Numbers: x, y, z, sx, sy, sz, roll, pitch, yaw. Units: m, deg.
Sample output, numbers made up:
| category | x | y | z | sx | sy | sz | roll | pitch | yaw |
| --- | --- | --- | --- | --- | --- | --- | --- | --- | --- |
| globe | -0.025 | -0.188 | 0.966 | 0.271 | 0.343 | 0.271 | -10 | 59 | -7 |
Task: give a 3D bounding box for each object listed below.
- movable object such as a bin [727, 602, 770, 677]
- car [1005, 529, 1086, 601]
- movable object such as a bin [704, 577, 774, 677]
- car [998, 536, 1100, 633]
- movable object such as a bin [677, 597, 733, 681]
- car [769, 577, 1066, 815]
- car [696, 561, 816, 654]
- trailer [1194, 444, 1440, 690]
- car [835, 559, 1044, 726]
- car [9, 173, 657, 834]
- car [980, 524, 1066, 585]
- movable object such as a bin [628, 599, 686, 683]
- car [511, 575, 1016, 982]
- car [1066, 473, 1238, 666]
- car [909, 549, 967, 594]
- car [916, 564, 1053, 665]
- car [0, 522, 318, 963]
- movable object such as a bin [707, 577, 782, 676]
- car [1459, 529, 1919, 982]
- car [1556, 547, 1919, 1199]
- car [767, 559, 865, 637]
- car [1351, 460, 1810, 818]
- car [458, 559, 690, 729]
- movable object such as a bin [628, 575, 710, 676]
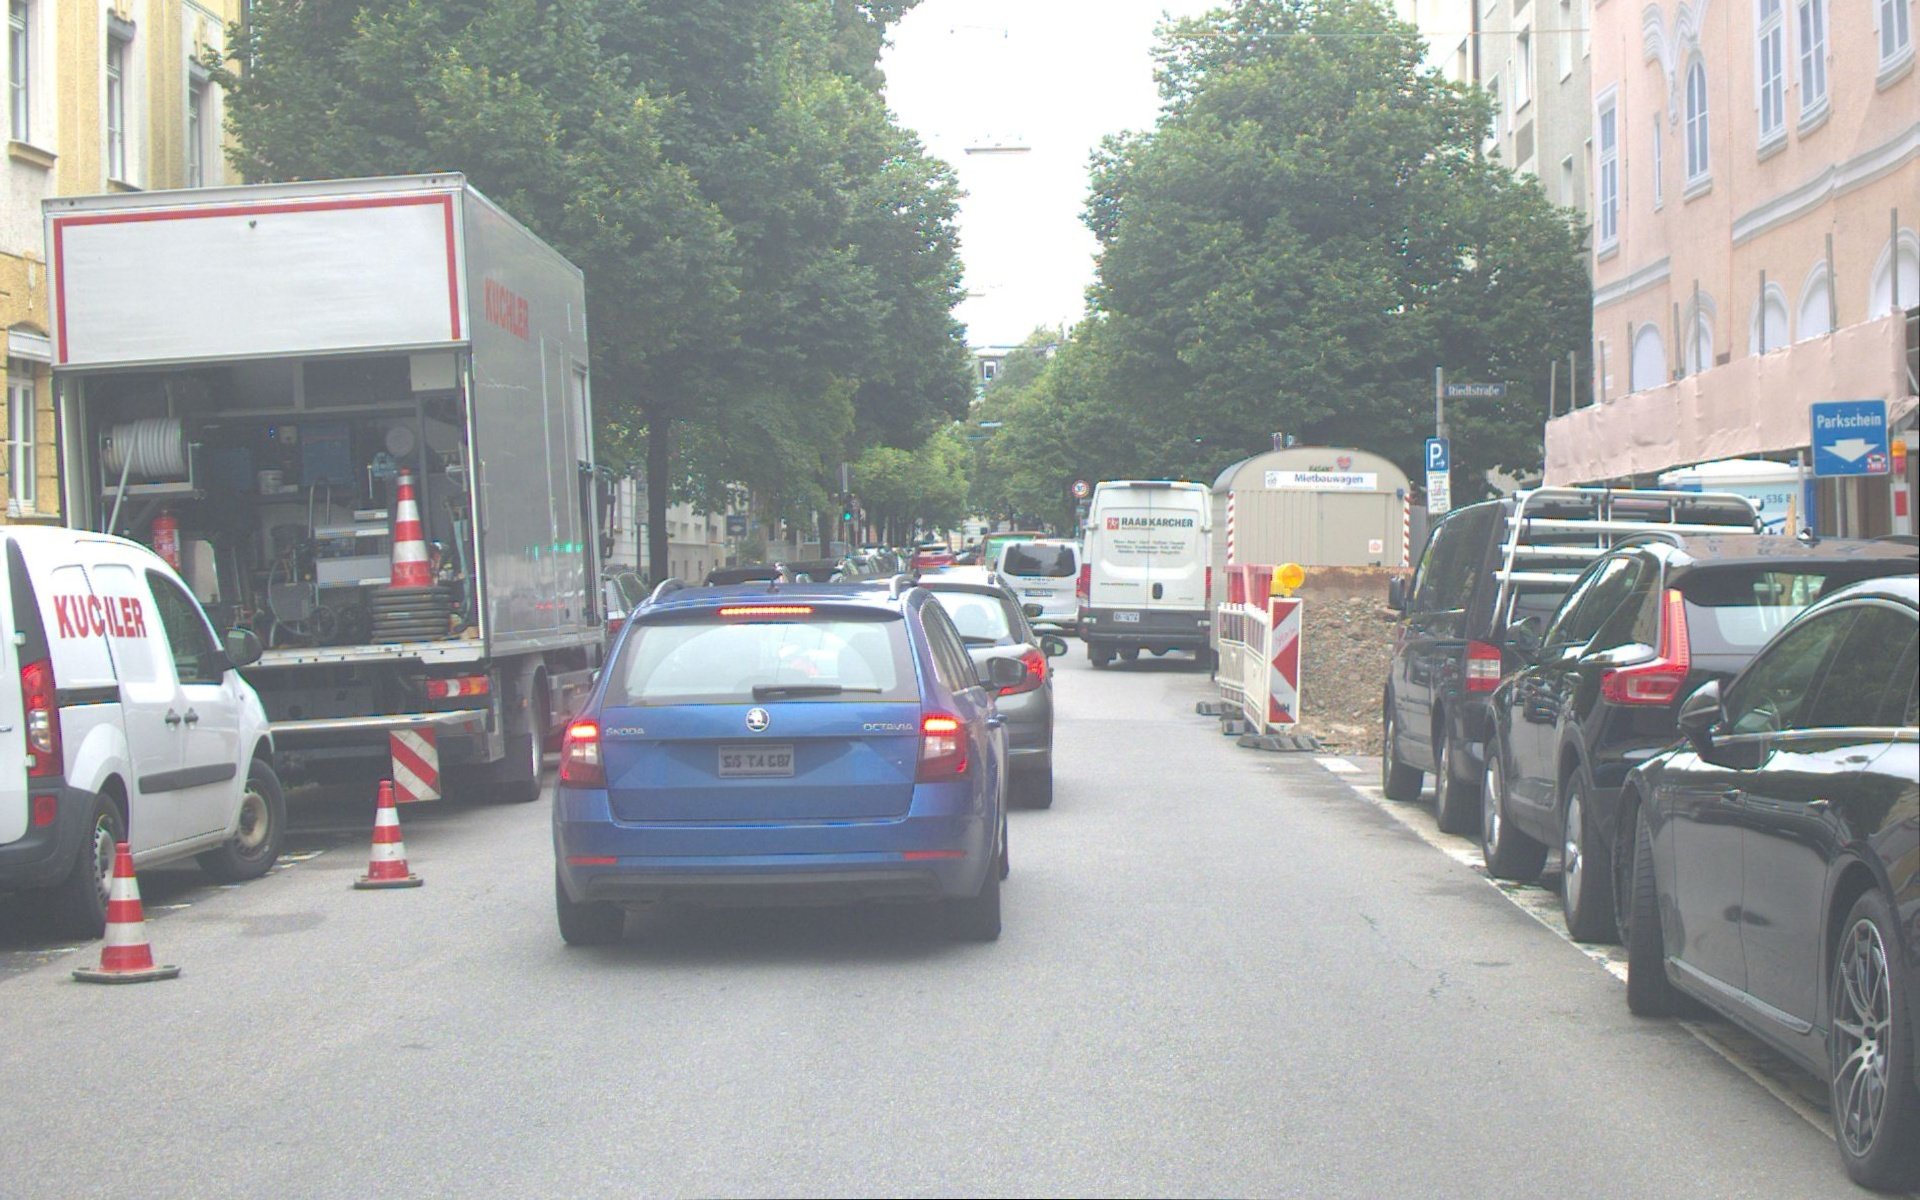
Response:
| category | x | y | z | sx | sy | sz | roll | pitch | yaw |
| --- | --- | --- | --- | --- | --- | --- | --- | --- | --- |
| movable object such as a bin | -2.982 | 0.557 | 48.554 | 0.546 | 1.017 | 0.636 | -3 | 1 | -2 |
| car | 2.049 | -0.859 | 82.121 | 1.867 | 1.647 | 4.347 | 1 | 1 | 1 |
| movable object such as a bin | -3.174 | 0.380 | 49.411 | 0.918 | 1.372 | 1.080 | -3 | 1 | -3 |
| car | 1.751 | -0.348 | 69.083 | 1.867 | 1.863 | 4.347 | 1 | 1 | -1 |
| movable object such as a bin | -3.602 | 0.545 | 48.507 | 0.711 | 1.144 | 0.636 | -3 | 1 | -2 |
| car | -0.198 | 0.568 | 22.491 | 1.741 | 1.417 | 3.664 | 0 | 0 | 2 |
| car | -3.358 | 0.095 | 57.236 | 1.812 | 1.473 | 4.000 | 0 | 1 | -1 |
| trailer | 4.374 | -0.394 | 43.317 | 2.502 | 2.830 | 6.901 | 1 | 0 | 1 |
| car | -0.170 | 0.357 | 33.145 | 1.867 | 1.449 | 4.347 | 1 | 1 | 0 |
| car | -4.049 | -0.593 | 24.435 | 2.812 | 3.804 | 8.723 | -1 | 0 | 1 |
| car | 1.709 | -1.278 | 95.098 | 2.007 | 1.647 | 4.348 | 1 | 1 | -4 |
| movable object such as a bin | -4.270 | 0.576 | 48.469 | 0.721 | 1.134 | 0.658 | -3 | 1 | -2 |
| car | -0.686 | 0.639 | 14.736 | 1.789 | 1.455 | 4.314 | -1 | 0 | 1 |
| car | 2.880 | -0.429 | 50.452 | 2.113 | 2.654 | 5.498 | 1 | 0 | 7 |
| car | -0.790 | -1.085 | 128.789 | 2.008 | 1.647 | 4.347 | 1 | 1 | 2 |
| car | 0.398 | 0.177 | 50.181 | 1.867 | 1.343 | 4.347 | 1 | 1 | 2 |
| car | -4.409 | 0.587 | 16.105 | 1.763 | 1.773 | 4.326 | -2 | 0 | 2 |
| movable object such as a bin | -3.163 | 0.382 | 50.509 | 1.020 | 1.372 | 1.104 | -3 | 1 | -3 |
| car | 3.333 | 0.591 | 15.289 | 1.694 | 1.671 | 4.407 | 2 | 0 | 2 |
| car | 3.132 | 0.627 | 9.773 | 1.931 | 1.548 | 5.637 | 0 | 1 | 0 |
| car | -2.826 | -0.062 | 67.957 | 1.812 | 1.473 | 4.000 | 0 | 1 | -1 |
| car | 3.648 | 0.286 | 21.165 | 2.082 | 1.914 | 5.140 | 1 | -2 | 2 |
| car | -3.982 | 0.413 | 36.115 | 1.785 | 1.623 | 4.185 | -2 | 1 | 2 |
| movable object such as a bin | -4.172 | 0.360 | 49.352 | 1.081 | 1.372 | 1.084 | -3 | 1 | -3 |
